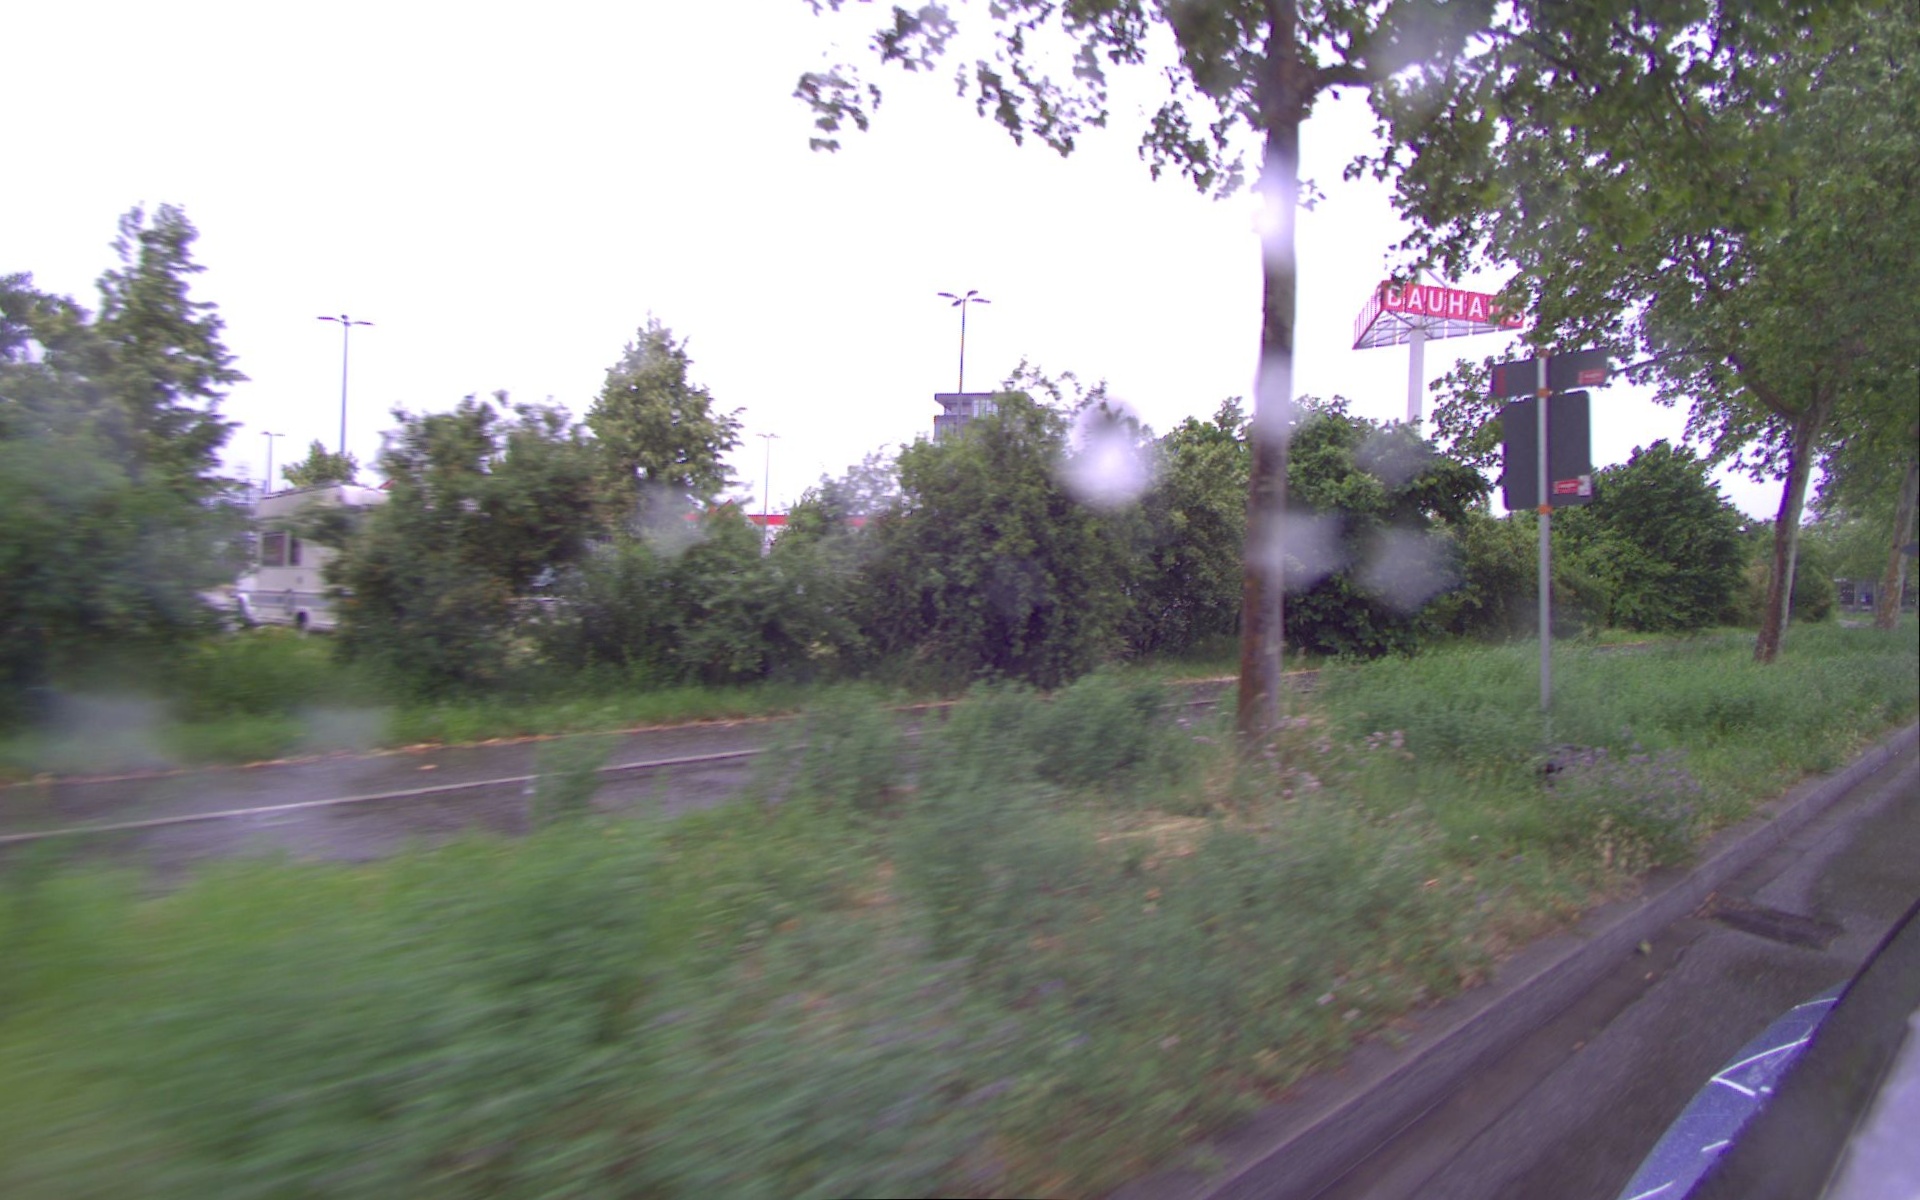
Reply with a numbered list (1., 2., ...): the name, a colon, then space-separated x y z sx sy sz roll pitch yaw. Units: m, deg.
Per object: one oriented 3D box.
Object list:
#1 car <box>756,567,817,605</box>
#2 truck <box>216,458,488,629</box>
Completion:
1. car: -9.651 -0.775 56.565 1.871 2.039 4.057 0 1 14
2. truck: -10.356 -0.811 16.910 6.530 2.333 2.186 0 1 43
